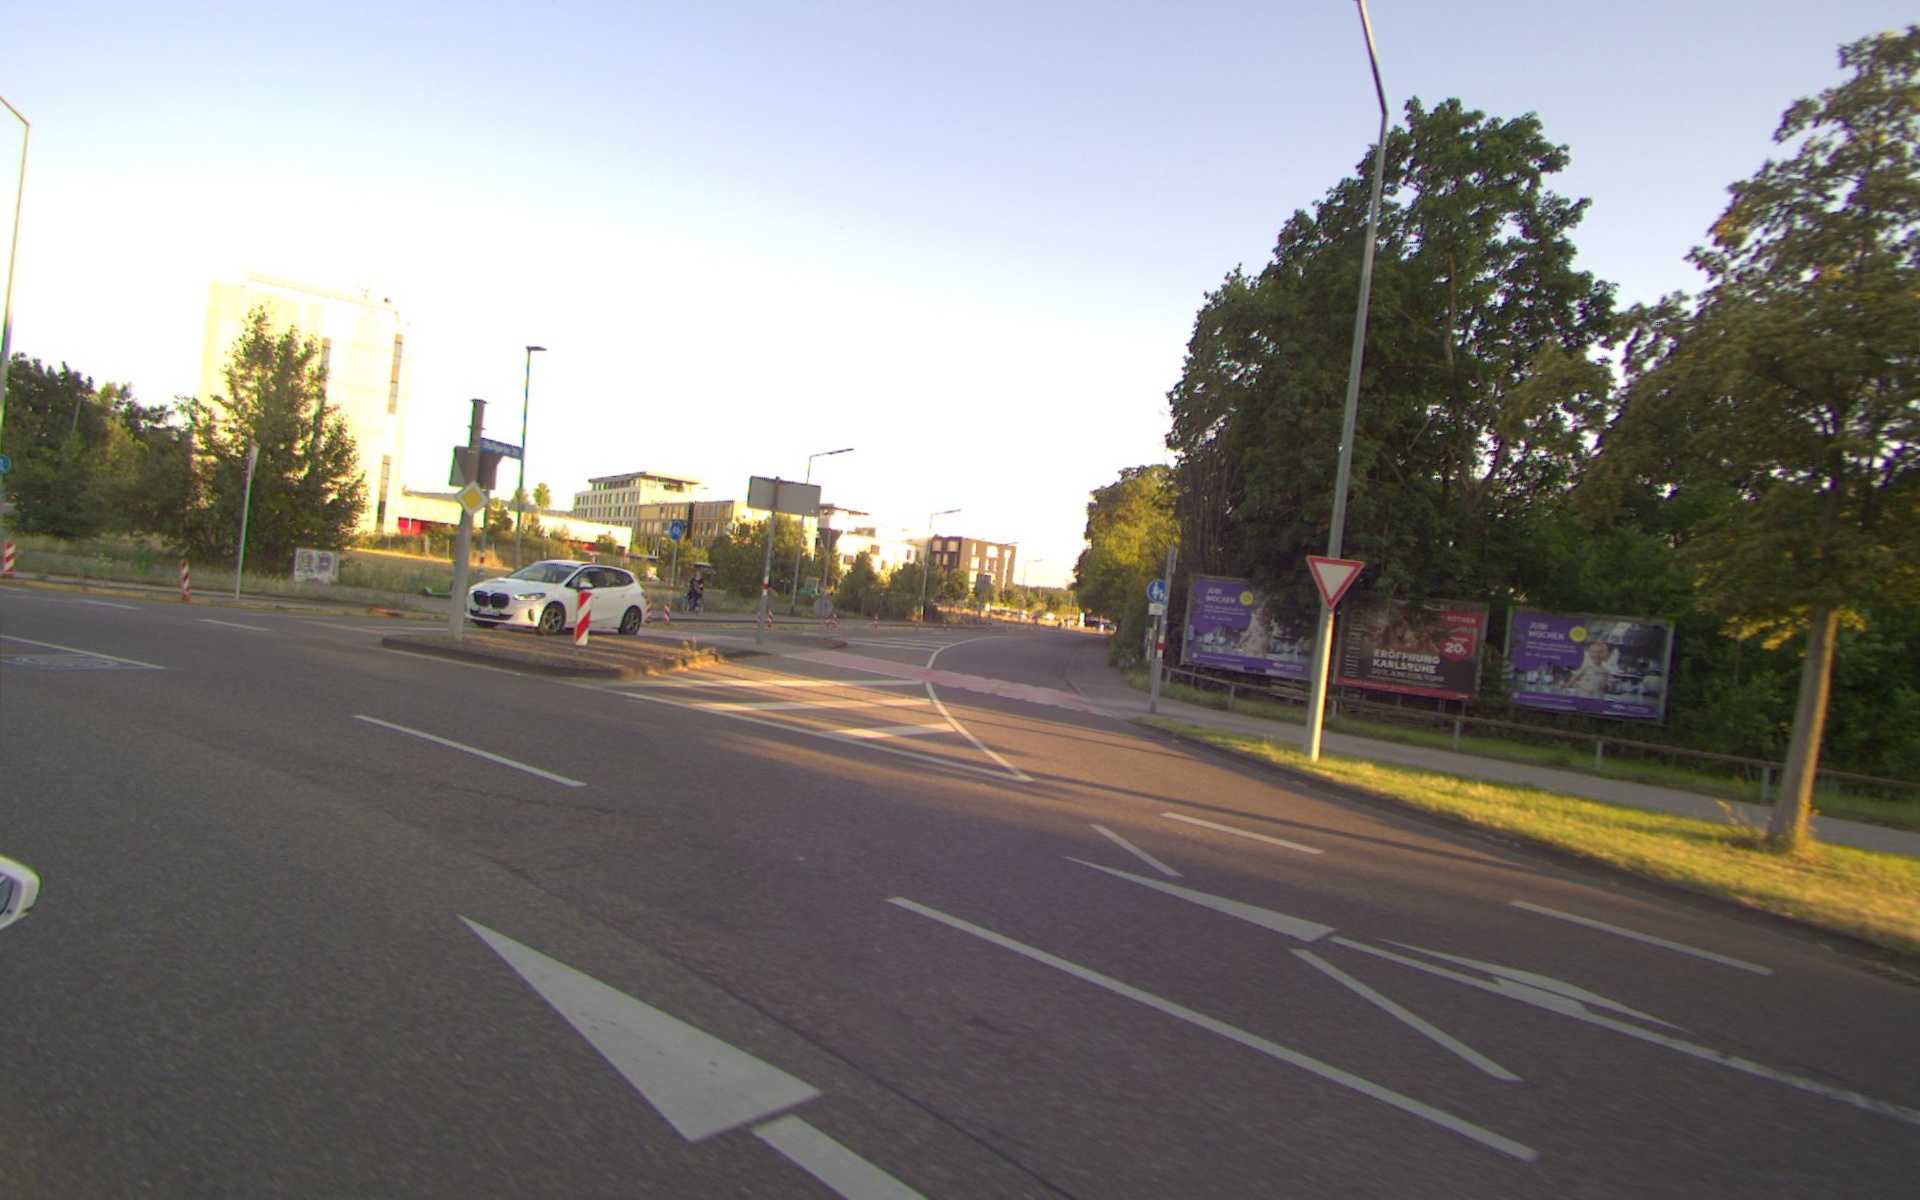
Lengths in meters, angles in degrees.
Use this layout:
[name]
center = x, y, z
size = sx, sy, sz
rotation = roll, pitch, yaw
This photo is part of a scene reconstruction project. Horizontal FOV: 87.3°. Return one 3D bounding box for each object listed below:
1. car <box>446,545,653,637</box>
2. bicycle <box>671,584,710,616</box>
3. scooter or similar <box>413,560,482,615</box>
[car]
center = -8.655, -0.114, 21.621
size = 1.855, 1.577, 4.097
rotation = 6, -1, 17
[bicycle]
center = -10.753, 0.014, 40.176
size = 1.348, 1.102, 0.280
rotation = 7, 1, -3
[scooter or similar]
center = -12.559, -0.297, 24.673
size = 1.358, 1.177, 0.442
rotation = 7, 1, -1
